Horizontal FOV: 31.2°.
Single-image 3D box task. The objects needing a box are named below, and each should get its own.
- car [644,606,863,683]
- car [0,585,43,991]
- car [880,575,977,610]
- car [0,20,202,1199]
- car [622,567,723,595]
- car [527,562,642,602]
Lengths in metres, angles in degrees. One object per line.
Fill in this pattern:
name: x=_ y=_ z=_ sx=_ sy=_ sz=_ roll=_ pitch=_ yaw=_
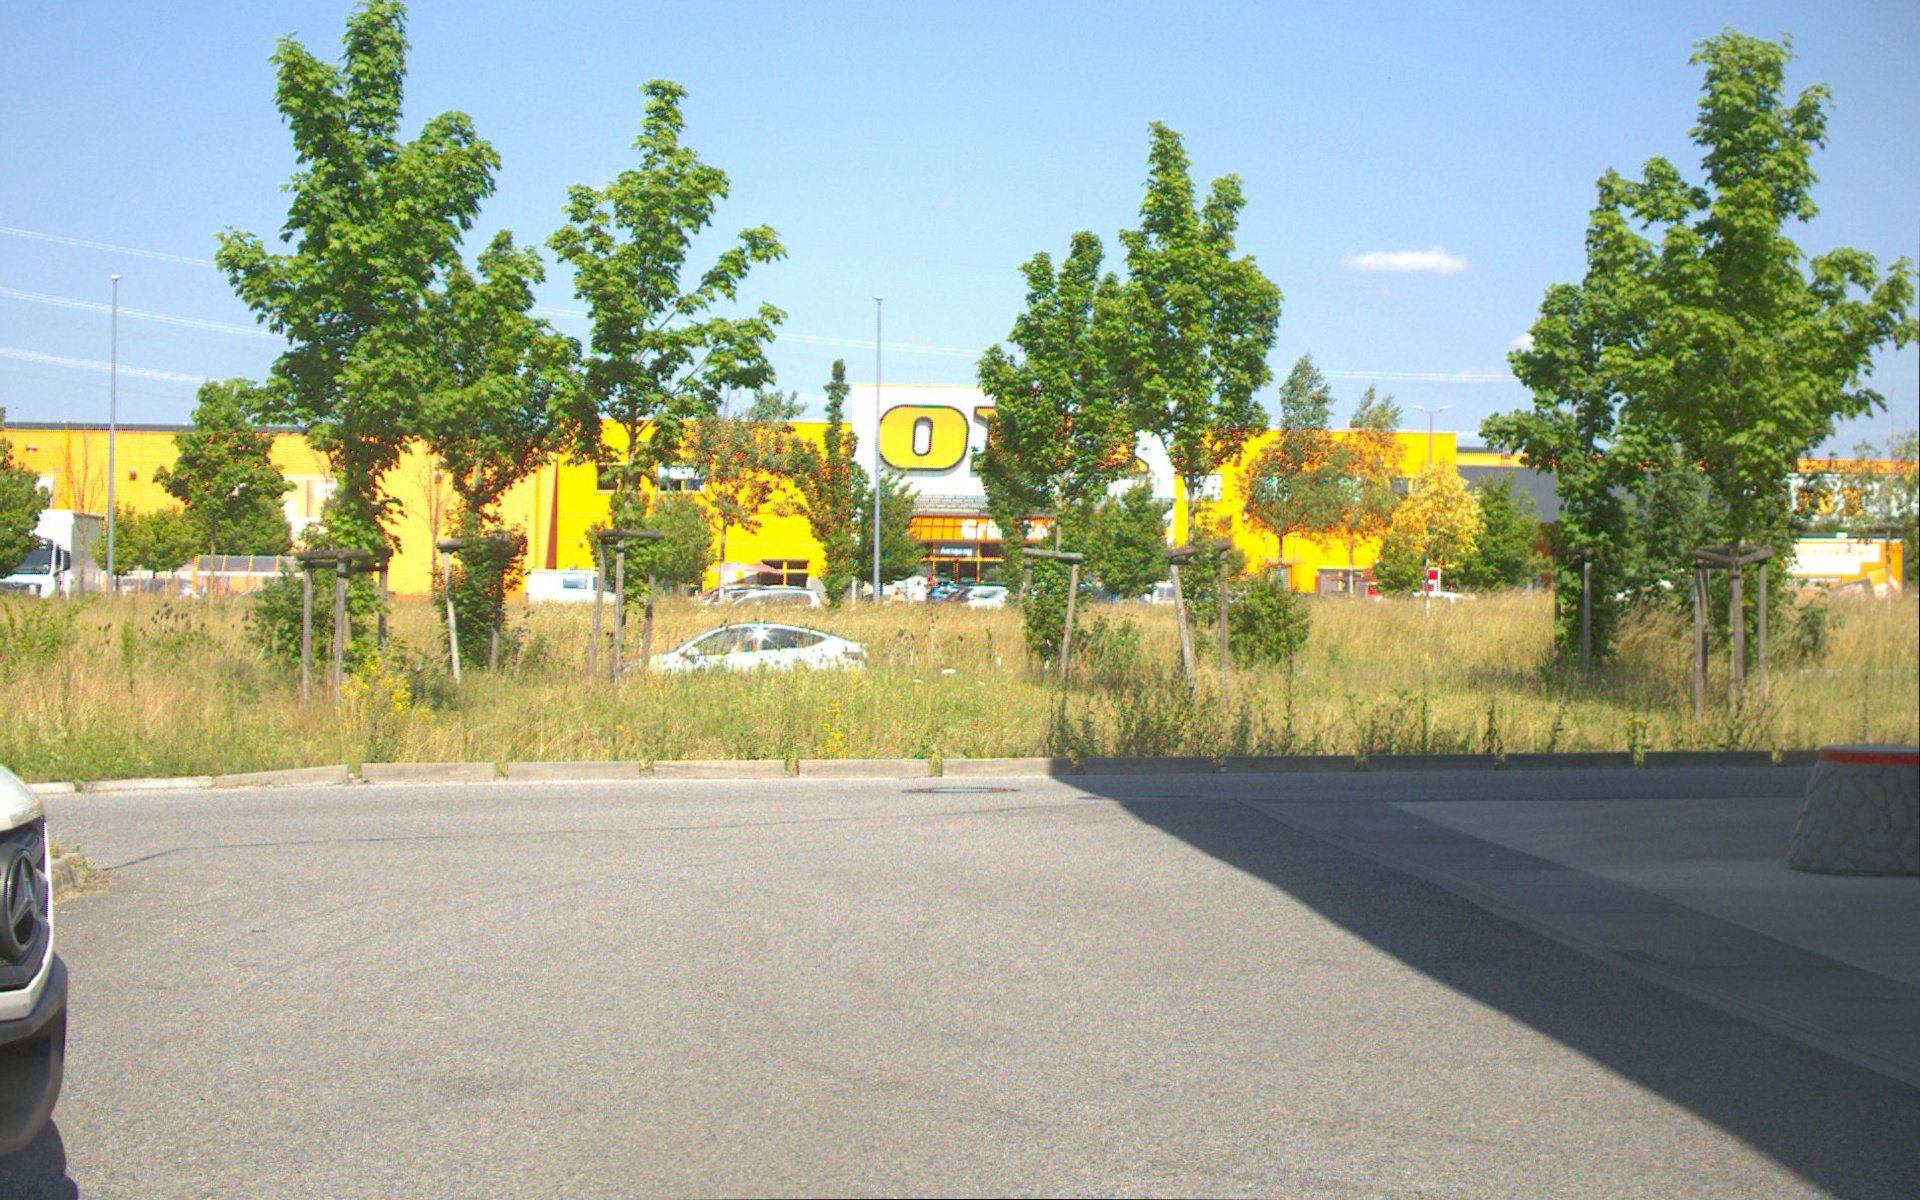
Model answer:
car: x=-3.549 y=0.756 z=59.383 sx=3.731 sy=1.295 sz=1.486 roll=0 pitch=0 yaw=-2
car: x=-5.502 y=0.628 z=11.690 sx=4.307 sy=1.423 sz=1.793 roll=1 pitch=0 yaw=-3
car: x=-1.379 y=-0.323 z=148.829 sx=4.155 sy=1.465 sz=1.671 roll=0 pitch=0 yaw=-2
car: x=-5.343 y=0.052 z=7.130 sx=7.008 sy=2.562 sz=2.000 roll=2 pitch=0 yaw=2
car: x=-11.482 y=-0.752 z=137.570 sx=3.954 sy=1.110 sz=1.698 roll=0 pitch=0 yaw=-2
car: x=-14.722 y=-0.698 z=134.932 sx=4.370 sy=1.542 sz=1.794 roll=0 pitch=0 yaw=-2
